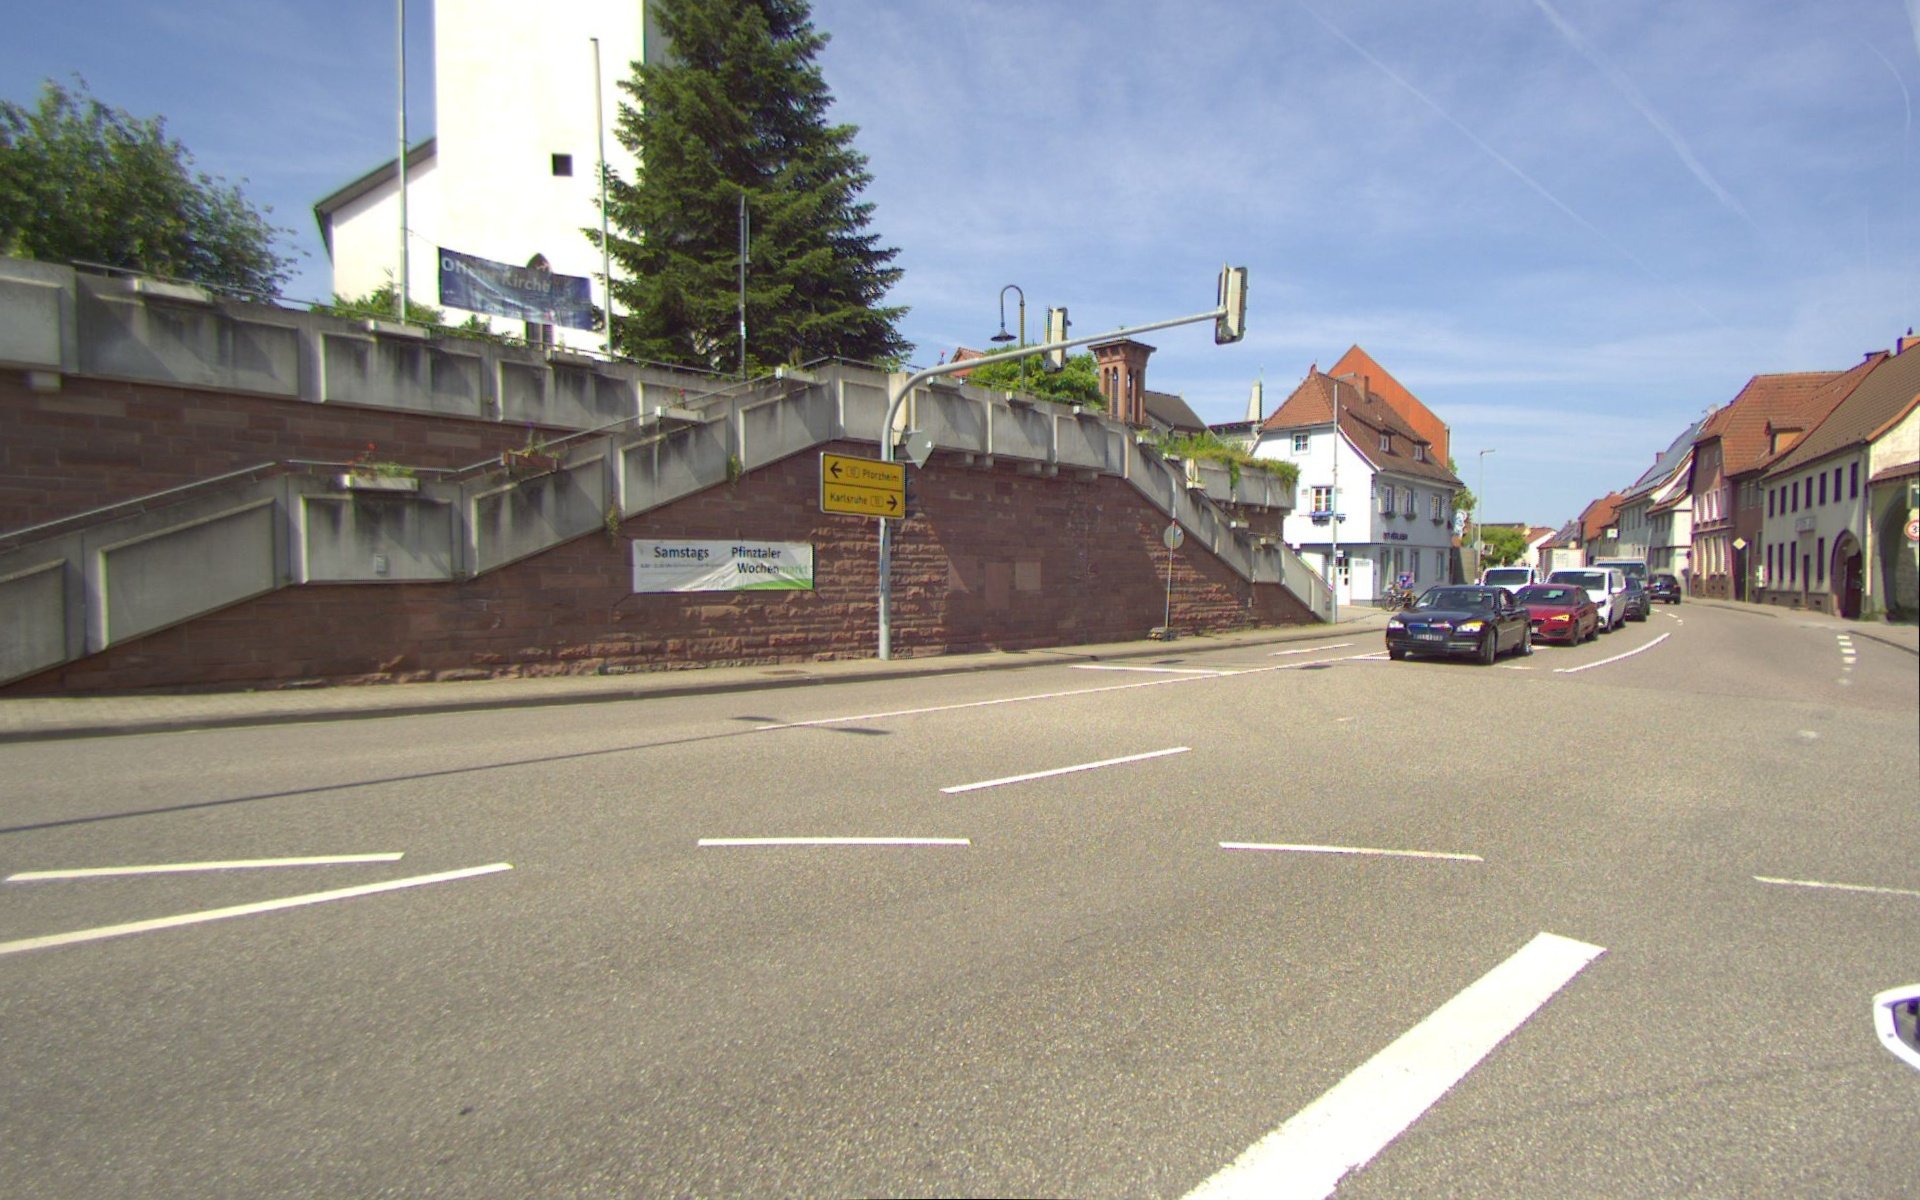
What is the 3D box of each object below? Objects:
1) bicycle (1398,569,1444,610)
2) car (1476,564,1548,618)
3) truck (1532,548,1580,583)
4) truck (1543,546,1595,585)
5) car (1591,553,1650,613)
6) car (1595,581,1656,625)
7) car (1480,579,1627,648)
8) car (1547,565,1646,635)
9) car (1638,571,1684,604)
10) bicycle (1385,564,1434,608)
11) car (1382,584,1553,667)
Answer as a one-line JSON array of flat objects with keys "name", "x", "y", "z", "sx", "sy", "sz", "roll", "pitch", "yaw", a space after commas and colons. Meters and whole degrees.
[{"name": "bicycle", "x": 19.283, "y": -0.429, "z": 41.954, "sx": 2.539, "sy": 1.629, "sz": 0.553, "roll": 0, "pitch": 3, "yaw": -38}, {"name": "car", "x": 22.035, "y": -0.371, "z": 40.018, "sx": 2.107, "sy": 1.993, "sz": 5.263, "roll": 1, "pitch": 1, "yaw": 33}, {"name": "truck", "x": 65.028, "y": -3.704, "z": 109.788, "sx": 3.109, "sy": 3.507, "sz": 10.703, "roll": 4, "pitch": 2, "yaw": 24}, {"name": "truck", "x": 60.958, "y": -3.395, "z": 100.713, "sx": 3.172, "sy": 3.597, "sz": 9.221, "roll": 4, "pitch": 3, "yaw": 24}, {"name": "car", "x": 27.491, "y": -0.727, "z": 41.914, "sx": 1.732, "sy": 2.276, "sz": 4.542, "roll": 4, "pitch": 3, "yaw": 31}, {"name": "car", "x": 23.715, "y": 0.069, "z": 35.889, "sx": 1.552, "sy": 1.403, "sz": 3.551, "roll": 4, "pitch": 3, "yaw": 31}, {"name": "car", "x": 15.234, "y": 0.251, "z": 25.642, "sx": 2.136, "sy": 1.536, "sz": 4.917, "roll": 3, "pitch": 3, "yaw": 44}, {"name": "car", "x": 19.151, "y": -0.063, "z": 30.140, "sx": 1.799, "sy": 1.932, "sz": 4.939, "roll": 2, "pitch": 2, "yaw": 40}, {"name": "car", "x": 39.570, "y": -0.710, "z": 56.755, "sx": 1.794, "sy": 1.762, "sz": 3.996, "roll": 1, "pitch": 1, "yaw": 30}, {"name": "bicycle", "x": 19.176, "y": -0.585, "z": 42.794, "sx": 2.646, "sy": 1.803, "sz": 0.636, "roll": 0, "pitch": 3, "yaw": -38}, {"name": "car", "x": 10.240, "y": 0.436, "z": 20.135, "sx": 4.220, "sy": 1.454, "sz": 1.802, "roll": -1, "pitch": 2, "yaw": -45}]
